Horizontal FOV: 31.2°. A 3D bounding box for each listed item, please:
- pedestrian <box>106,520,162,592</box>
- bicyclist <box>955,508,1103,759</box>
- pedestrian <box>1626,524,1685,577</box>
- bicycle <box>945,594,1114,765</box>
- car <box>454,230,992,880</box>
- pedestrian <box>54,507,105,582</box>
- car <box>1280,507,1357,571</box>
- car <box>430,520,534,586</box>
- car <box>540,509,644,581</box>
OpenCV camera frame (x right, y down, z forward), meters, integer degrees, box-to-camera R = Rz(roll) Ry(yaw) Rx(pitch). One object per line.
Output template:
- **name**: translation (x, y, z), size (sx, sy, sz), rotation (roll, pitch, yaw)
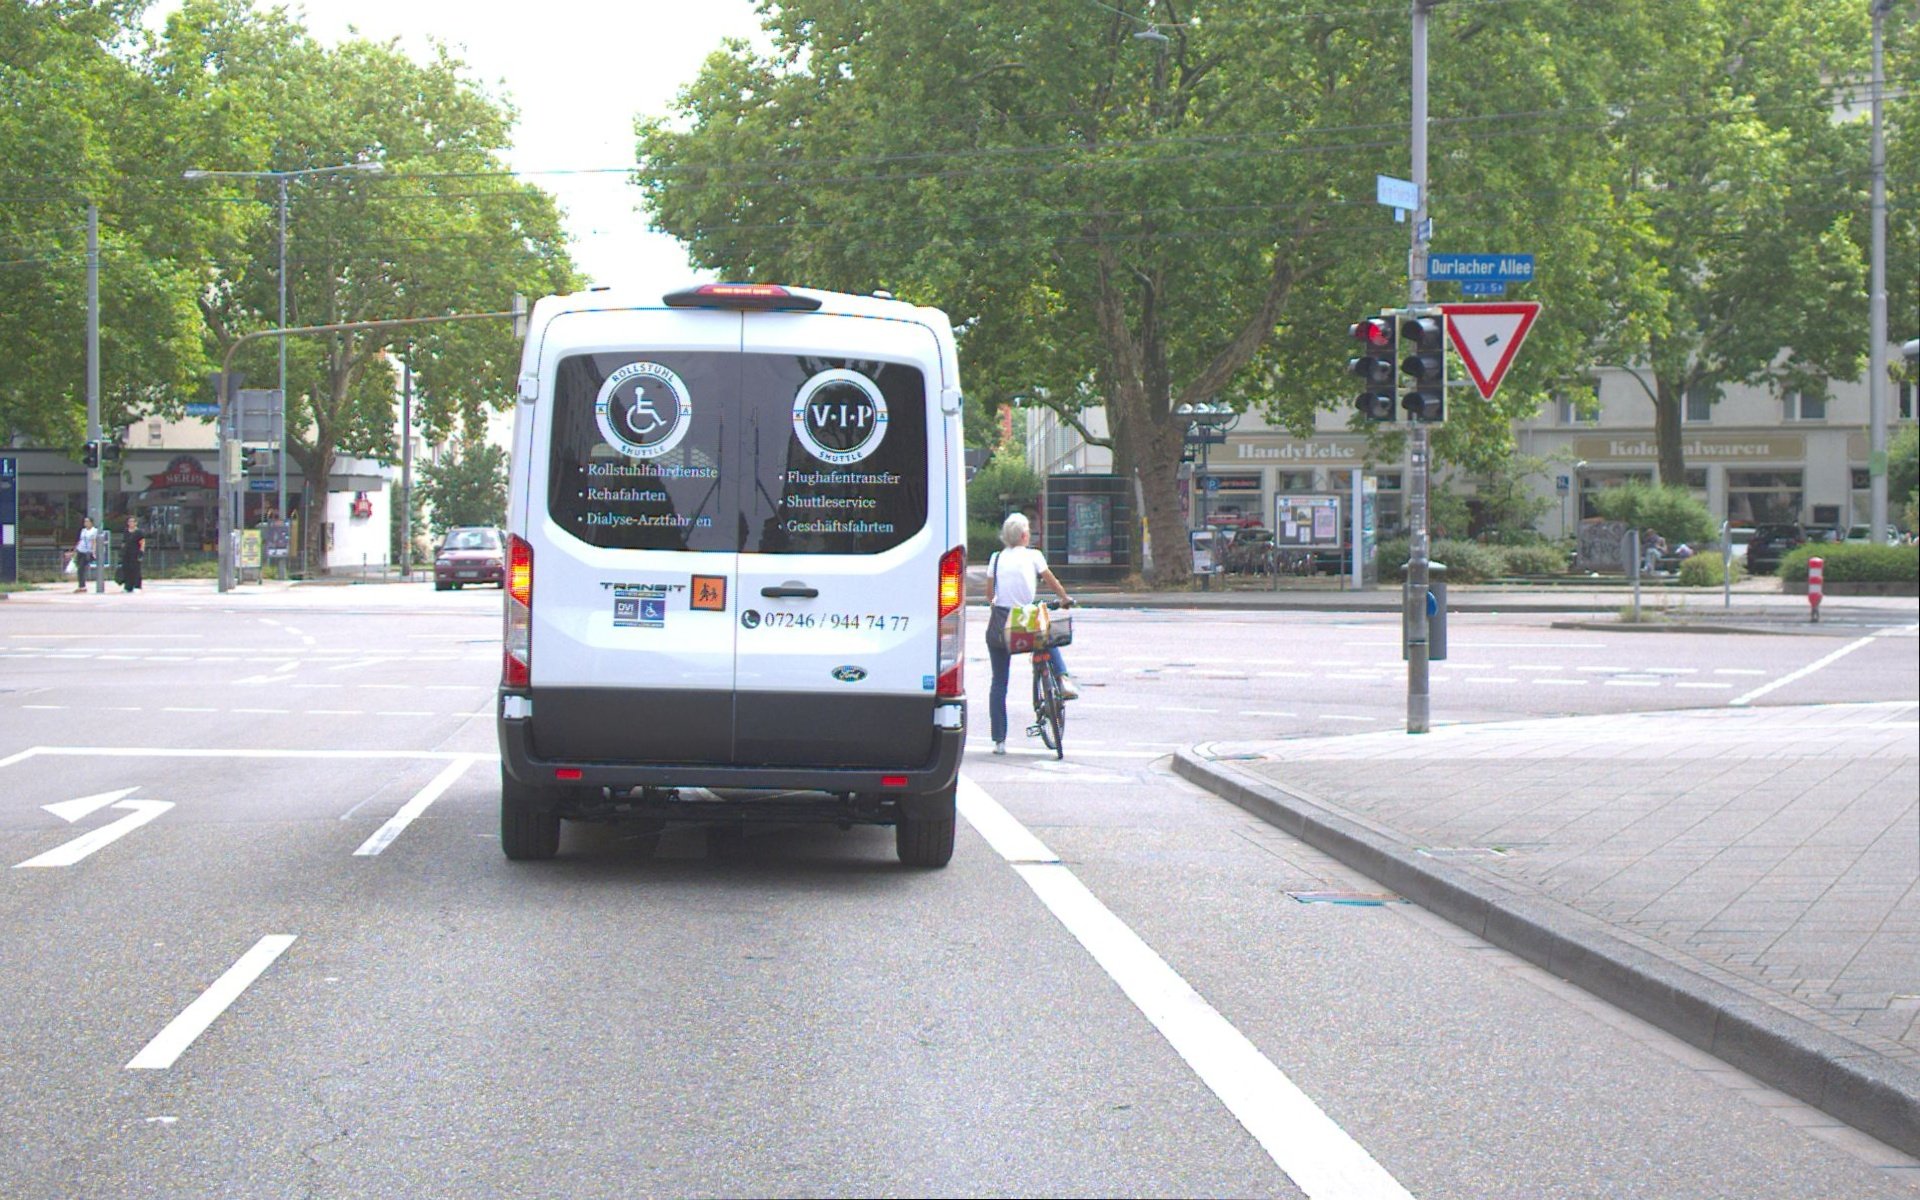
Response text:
- **pedestrian**: translation (-17.479, -0.928, 72.754), size (0.930, 1.509, 0.723), rotation (0, 1, 11)
- **bicyclist**: translation (0.463, 0.213, 23.337), size (0.903, 1.677, 0.757), rotation (0, 1, -7)
- **pedestrian**: translation (16.622, -1.180, 82.194), size (1.091, 1.232, 1.441), rotation (-2, 1, 1)
- **bicycle**: translation (0.453, 0.519, 23.561), size (0.902, 1.071, 1.970), rotation (0, 1, -7)
- **car**: translation (-1.177, -0.260, 16.339), size (2.181, 2.638, 4.629), rotation (0, 2, -5)
- **pedestrian**: translation (-18.614, -1.176, 72.722), size (0.807, 1.567, 0.723), rotation (0, 1, 10)
- **car**: translation (11.043, -1.897, 106.056), size (1.993, 1.924, 4.000), rotation (0, 1, 1)
- **car**: translation (-11.132, -1.126, 80.233), size (1.621, 1.471, 4.000), rotation (0, 2, 4)
- **car**: translation (-8.508, -1.295, 79.741), size (1.733, 1.586, 4.000), rotation (0, 2, 4)
